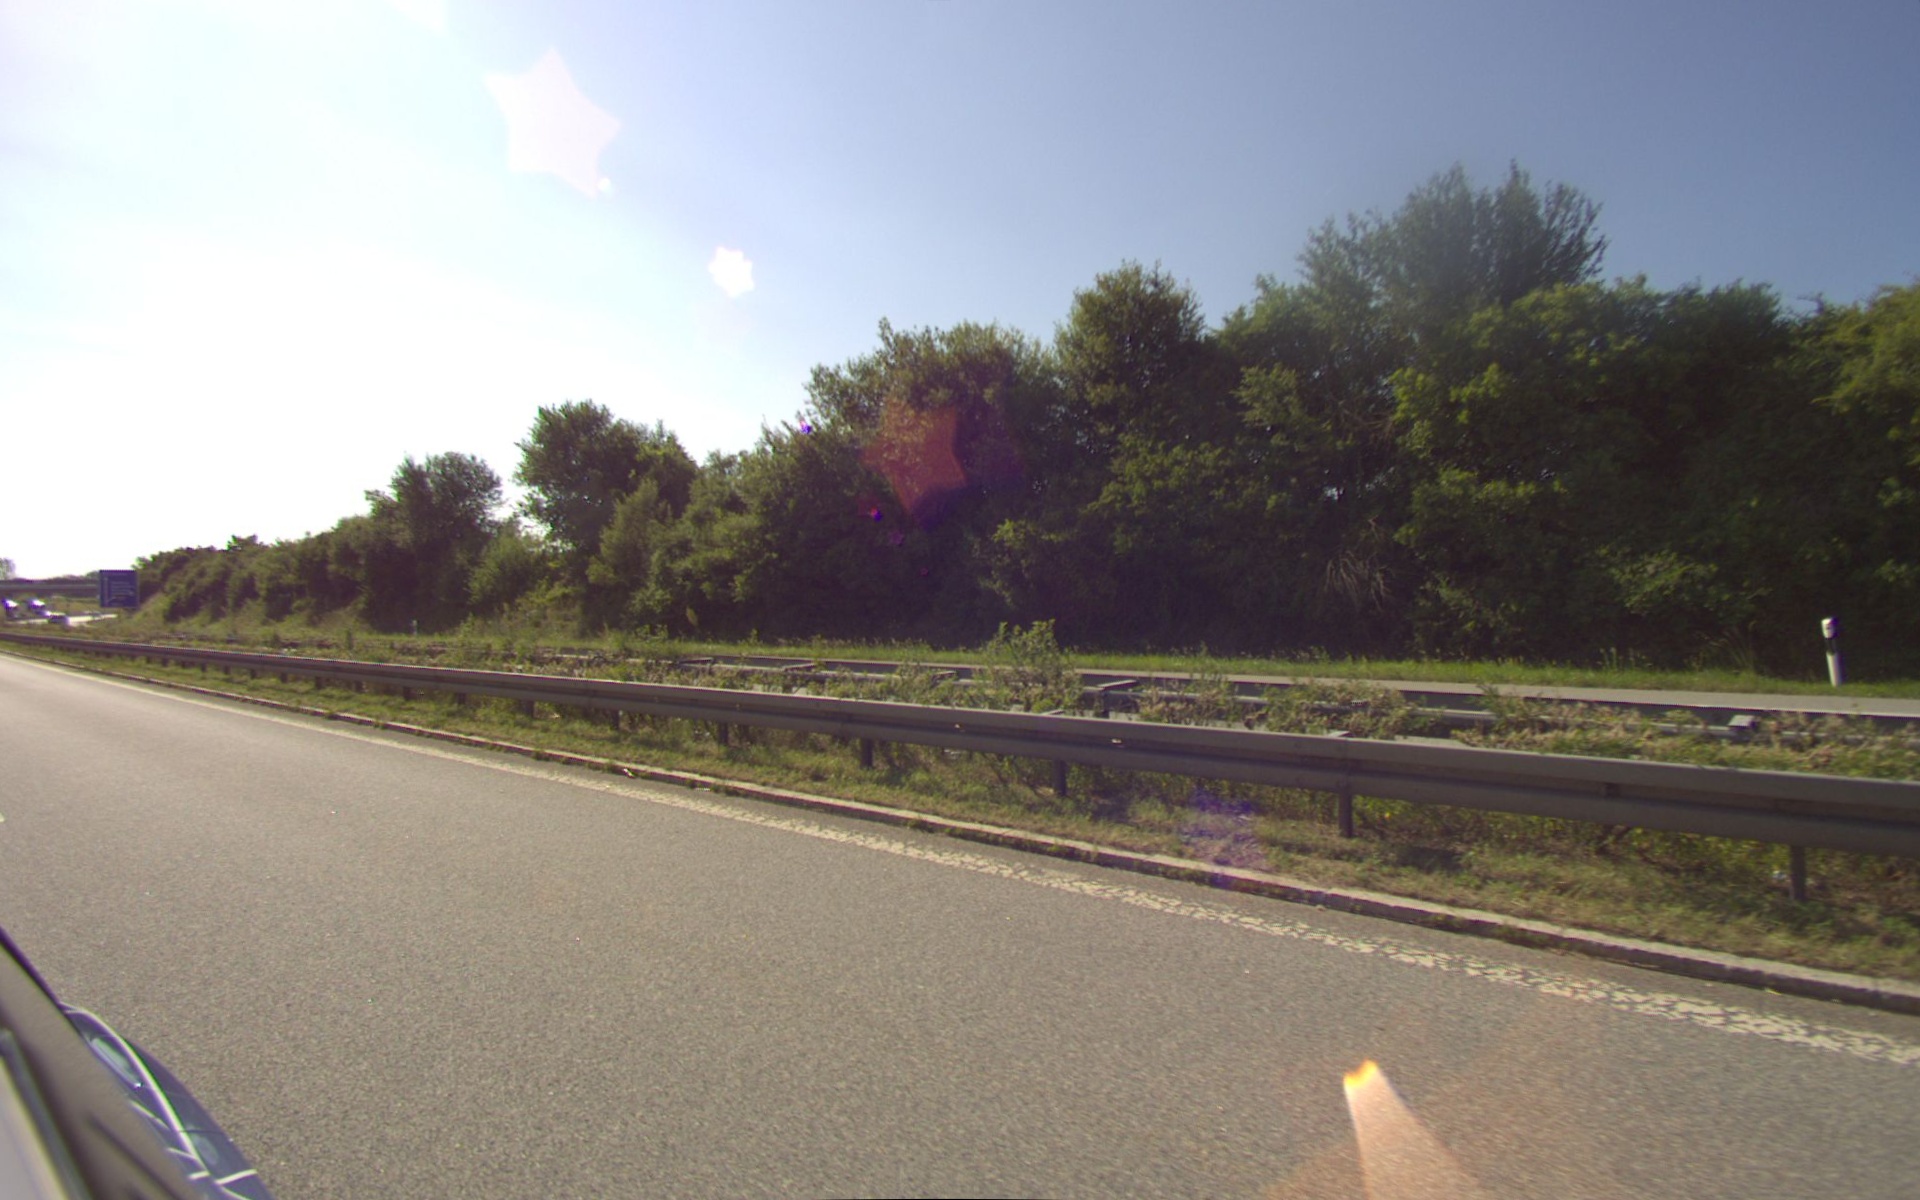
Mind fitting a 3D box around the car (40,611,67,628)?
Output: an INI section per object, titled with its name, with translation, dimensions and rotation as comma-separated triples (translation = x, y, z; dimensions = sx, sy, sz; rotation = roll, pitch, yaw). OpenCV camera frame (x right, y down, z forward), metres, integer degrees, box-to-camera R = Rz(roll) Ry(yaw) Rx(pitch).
[car]
translation = -109.426, 2.305, 122.185
dimensions = 4.856, 2.029, 1.972
rotation = -1, -1, 43
